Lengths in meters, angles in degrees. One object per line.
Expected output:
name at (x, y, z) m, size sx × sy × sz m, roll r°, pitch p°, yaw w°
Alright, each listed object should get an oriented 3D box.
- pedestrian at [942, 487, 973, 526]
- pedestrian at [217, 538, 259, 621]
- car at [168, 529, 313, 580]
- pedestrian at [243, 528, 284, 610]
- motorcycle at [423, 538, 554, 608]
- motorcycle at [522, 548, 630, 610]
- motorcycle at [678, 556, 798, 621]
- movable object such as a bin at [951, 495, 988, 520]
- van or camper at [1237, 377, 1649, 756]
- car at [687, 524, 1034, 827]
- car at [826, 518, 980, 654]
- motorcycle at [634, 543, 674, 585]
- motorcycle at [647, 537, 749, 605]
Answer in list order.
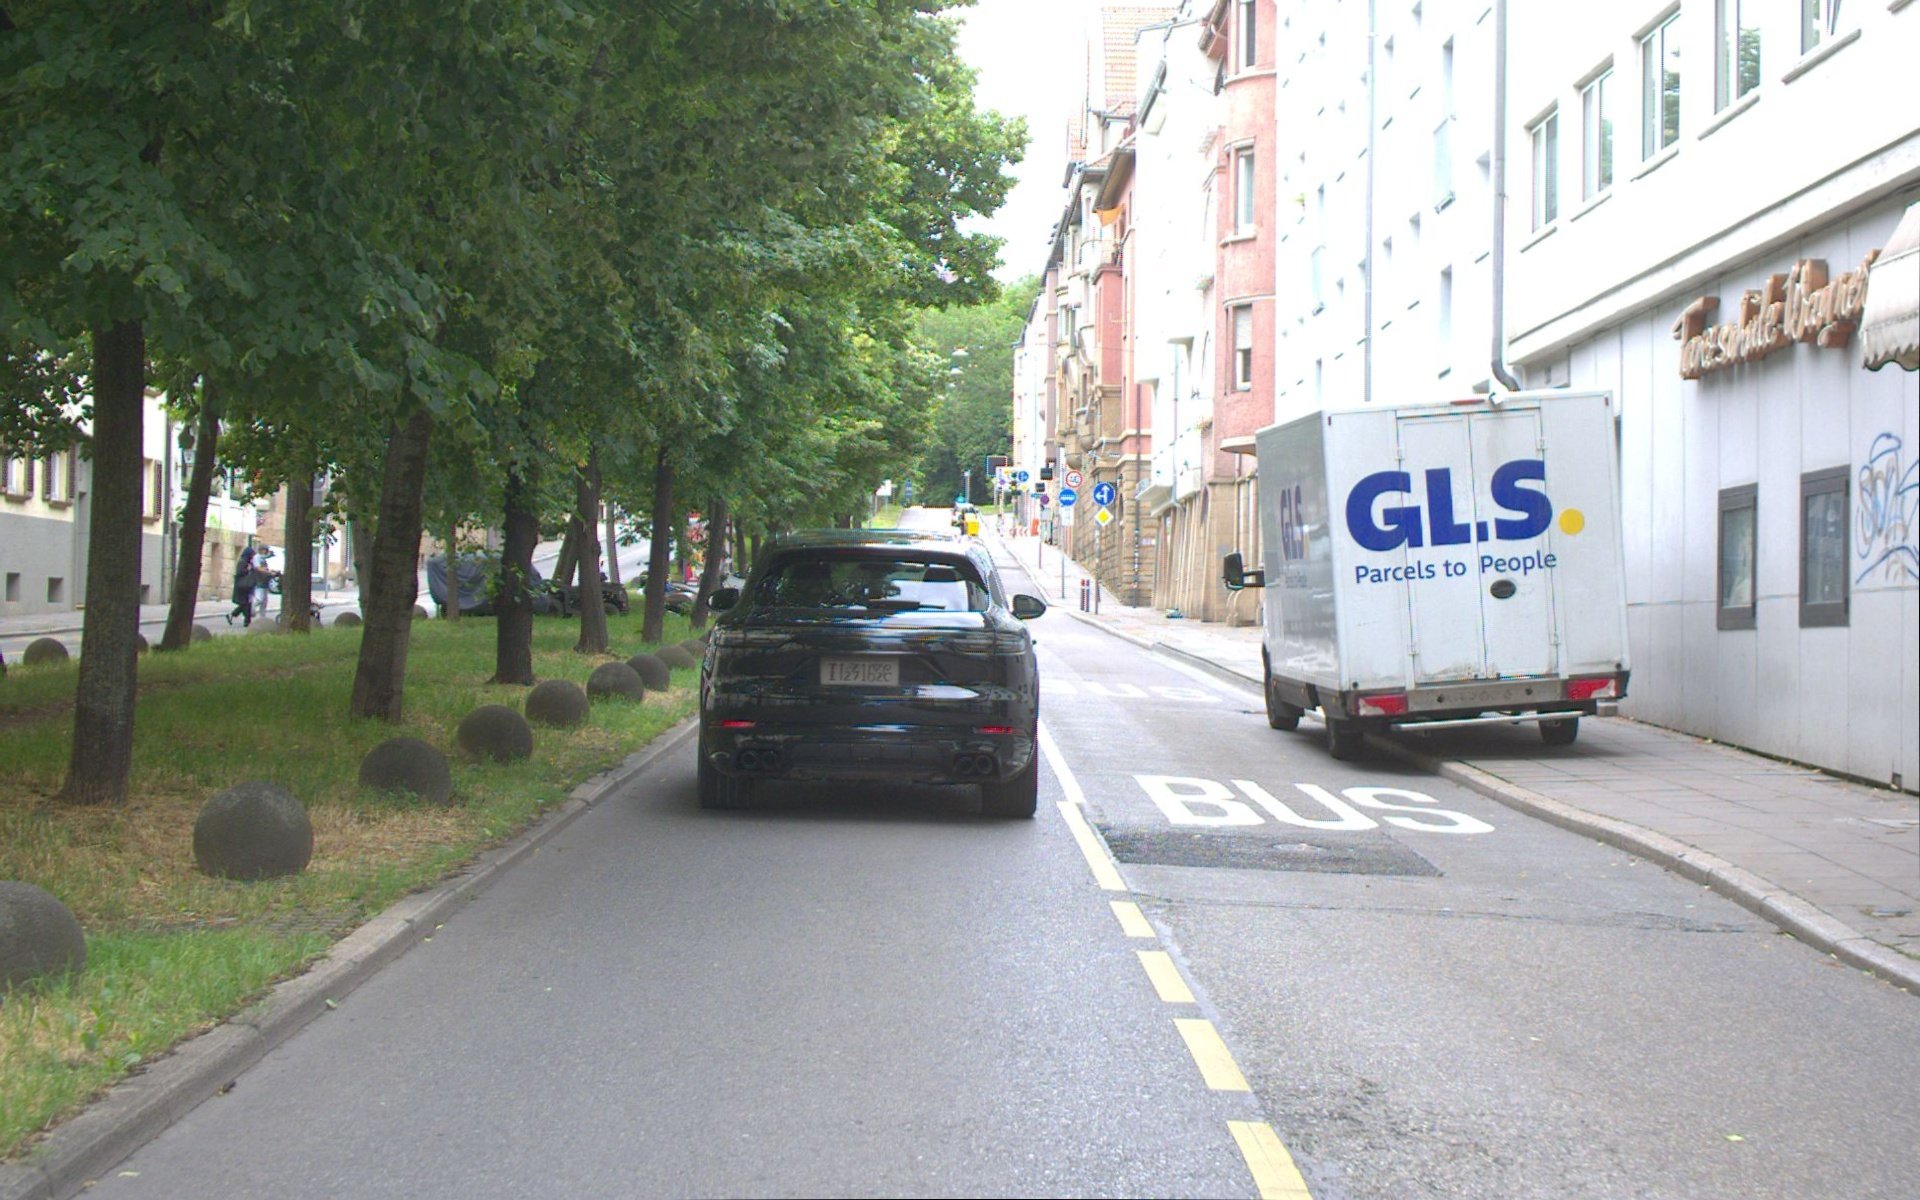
pedestrian at (-0.115, -4.896, 179.695) m, size 1.301 × 2.007 × 1.020 m, roll 0°, pitch 1°, yaw -22°
pedestrian at (-14.170, -0.409, 67.452) m, size 0.634 × 1.607 × 0.764 m, roll 2°, pitch 1°, yaw 0°
car at (-21.805, -1.382, 104.331) m, size 3.987 × 1.492 × 2.000 m, roll 1°, pitch 1°, yaw 0°
pedestrian at (-13.887, -0.615, 68.572) m, size 0.662 × 1.610 × 0.579 m, roll 1°, pitch 1°, yaw 2°
motorcycle at (-9.104, -0.523, 66.479) m, size 2.382 × 1.312 × 1.046 m, roll 1°, pitch 1°, yaw -1°
motorcycle at (-7.776, -0.431, 69.663) m, size 2.029 × 1.231 × 0.896 m, roll 1°, pitch 1°, yaw 5°
motorcycle at (-4.462, -0.231, 69.253) m, size 2.355 × 1.231 × 1.034 m, roll 1°, pitch 2°, yaw -2°
movable object such as a bin at (0.476, -4.779, 178.337) m, size 1.237 × 1.270 × 1.847 m, roll 0°, pitch 1°, yaw -25°
van or camper at (3.868, -0.315, 29.074) m, size 2.480 × 2.793 × 7.238 m, roll 0°, pitch 1°, yaw 0°
car at (-0.623, 0.380, 21.185) m, size 1.903 × 1.660 × 4.136 m, roll 1°, pitch 1°, yaw -2°
car at (-0.746, -0.221, 47.122) m, size 1.993 × 1.747 × 4.000 m, roll 1°, pitch 1°, yaw 0°
motorcycle at (-8.327, -0.983, 93.631) m, size 0.900 × 1.103 × 2.251 m, roll 0°, pitch -1°, yaw 0°
motorcycle at (-5.065, -0.551, 66.533) m, size 1.924 × 1.292 × 0.893 m, roll 0°, pitch -1°, yaw -2°
